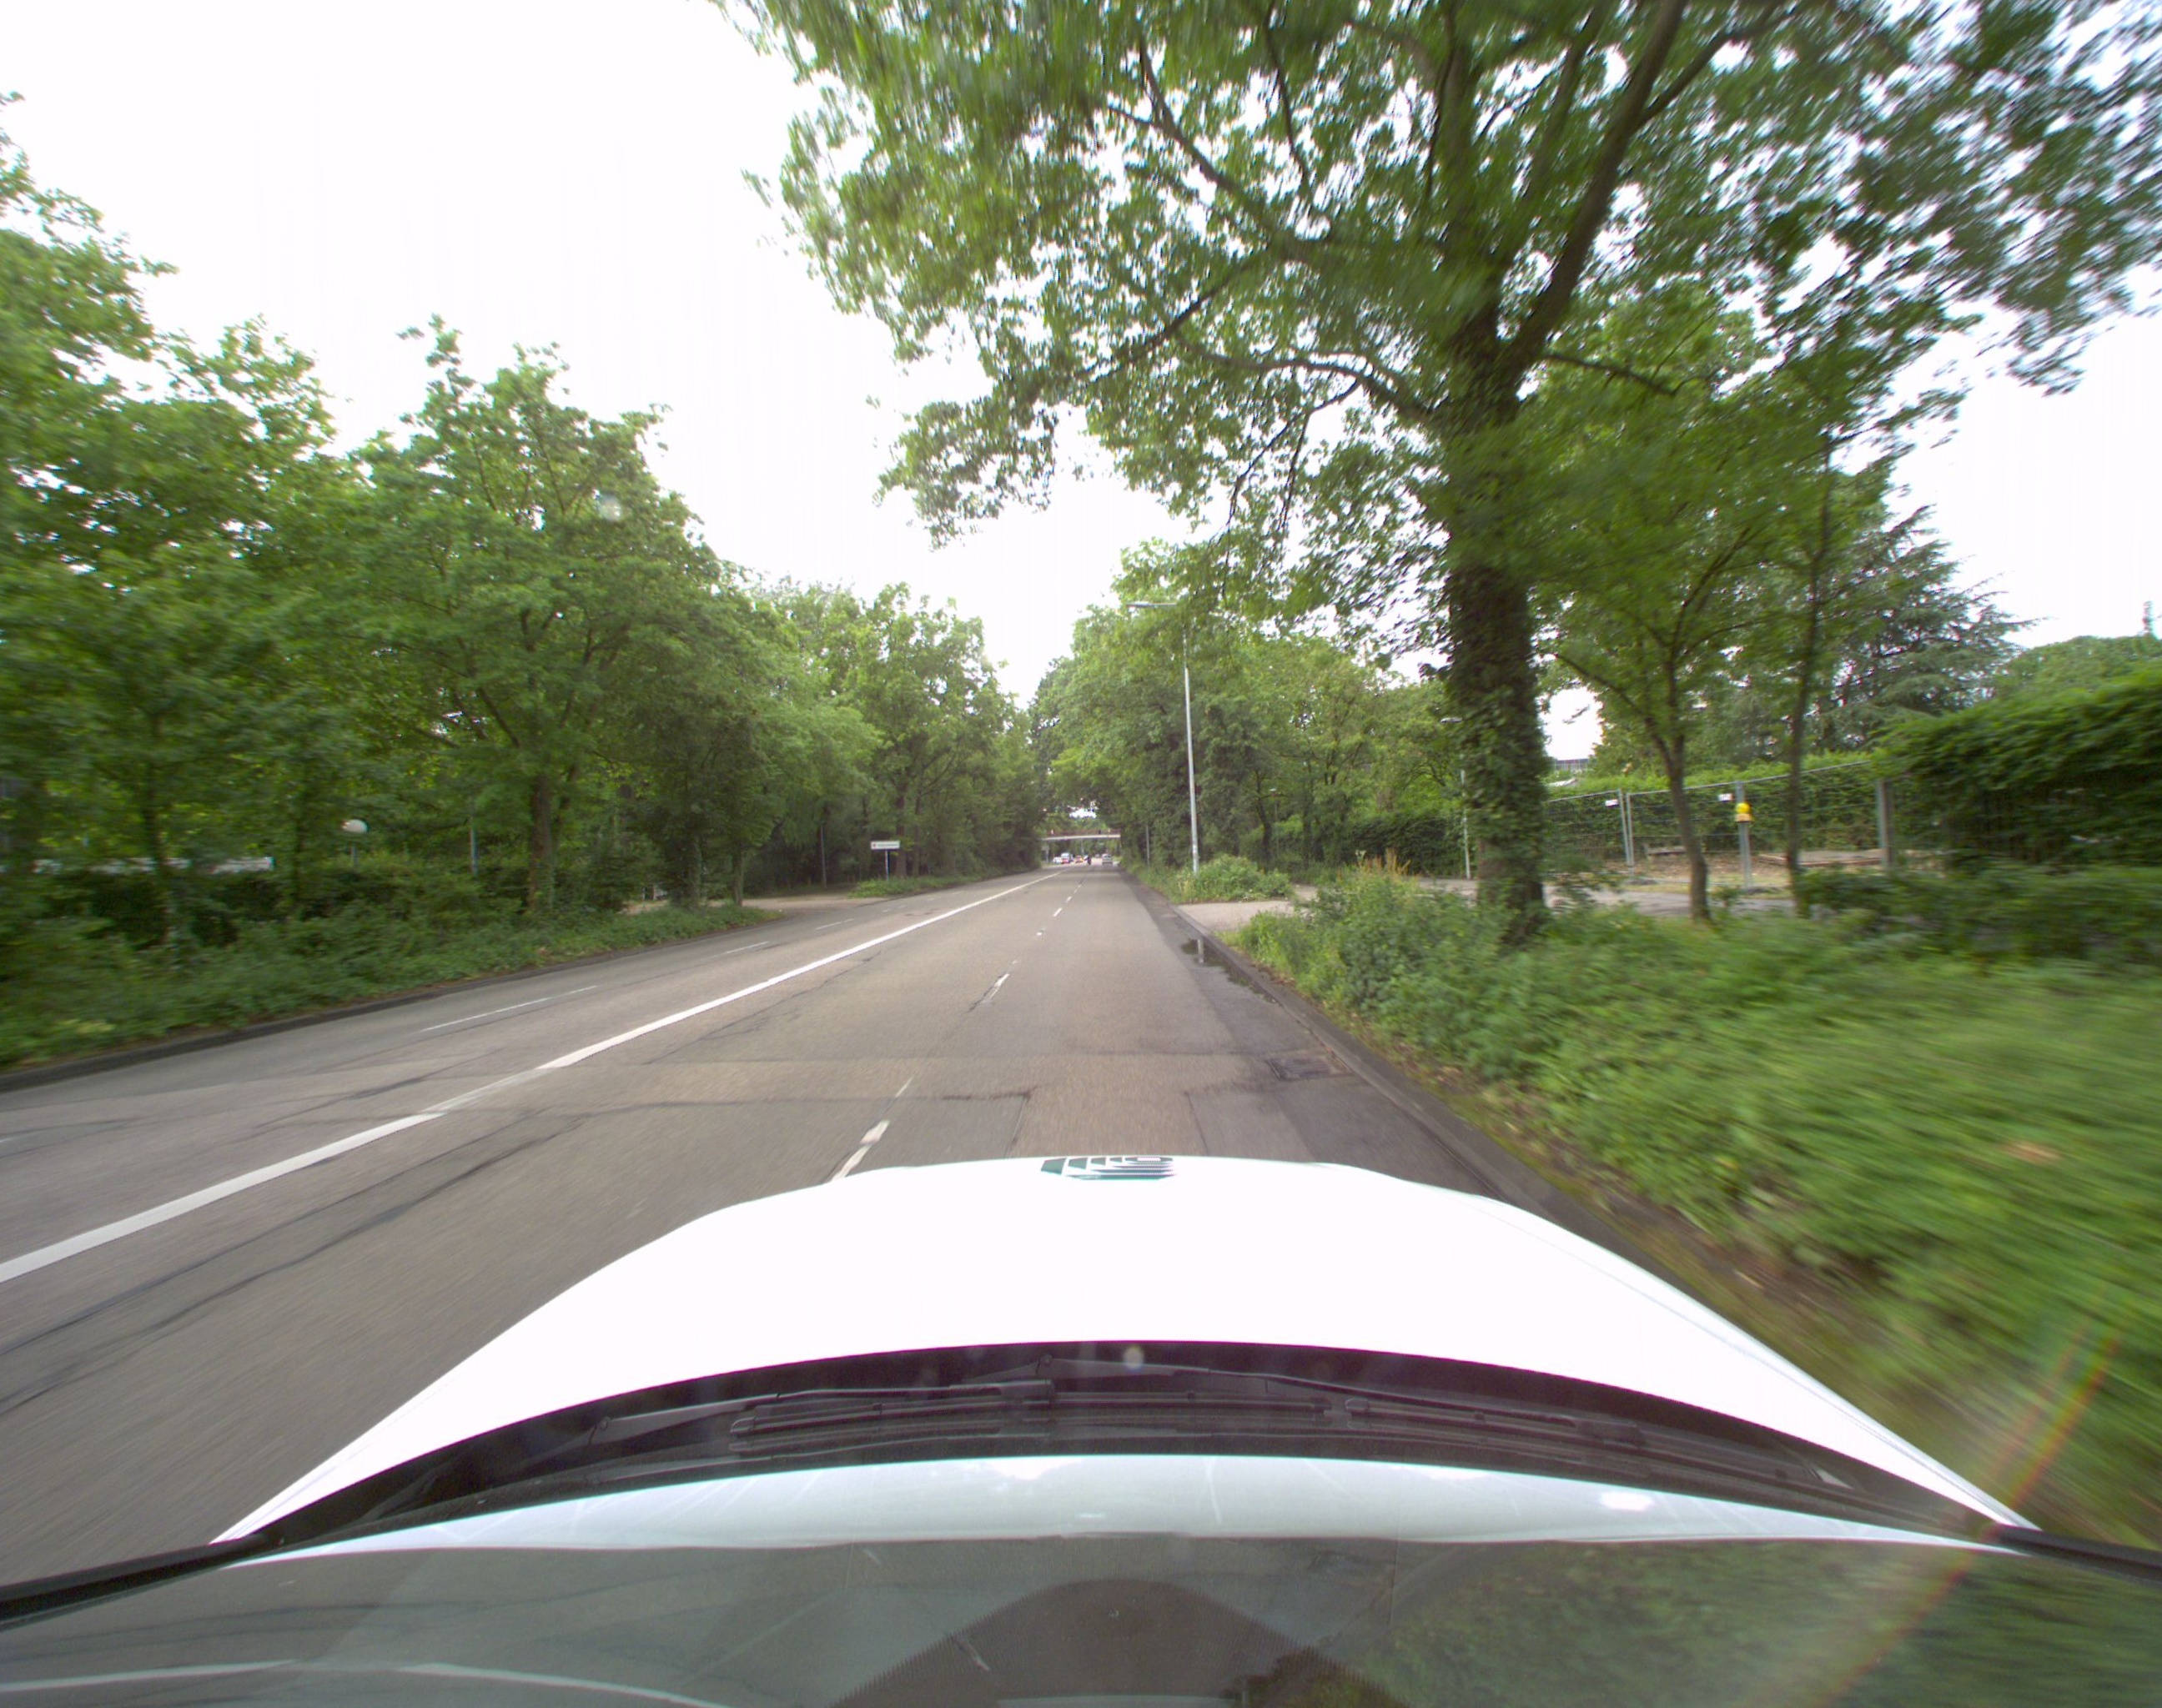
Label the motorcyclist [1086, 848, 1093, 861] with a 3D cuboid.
[{"bbox_3d":[1.439,0.054,133.044,1.059,2.013,0.843,-2,0,1],"label":"motorcyclist"}]

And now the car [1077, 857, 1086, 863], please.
[{"bbox_3d":[0.163,1.283,176.509,1.667,1.362,3.926,-2,0,4],"label":"car"}]

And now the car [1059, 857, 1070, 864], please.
[{"bbox_3d":[-3.597,1.409,176.022,1.984,1.354,3.899,-2,0,4],"label":"car"}]

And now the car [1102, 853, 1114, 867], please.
[{"bbox_3d":[4.309,0.986,129.544,1.836,2.013,4.002,-2,1,2],"label":"car"}]

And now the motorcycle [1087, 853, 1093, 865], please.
[{"bbox_3d":[1.467,0.822,133.208,0.986,1.936,2.670,-2,0,2],"label":"motorcycle"}]
